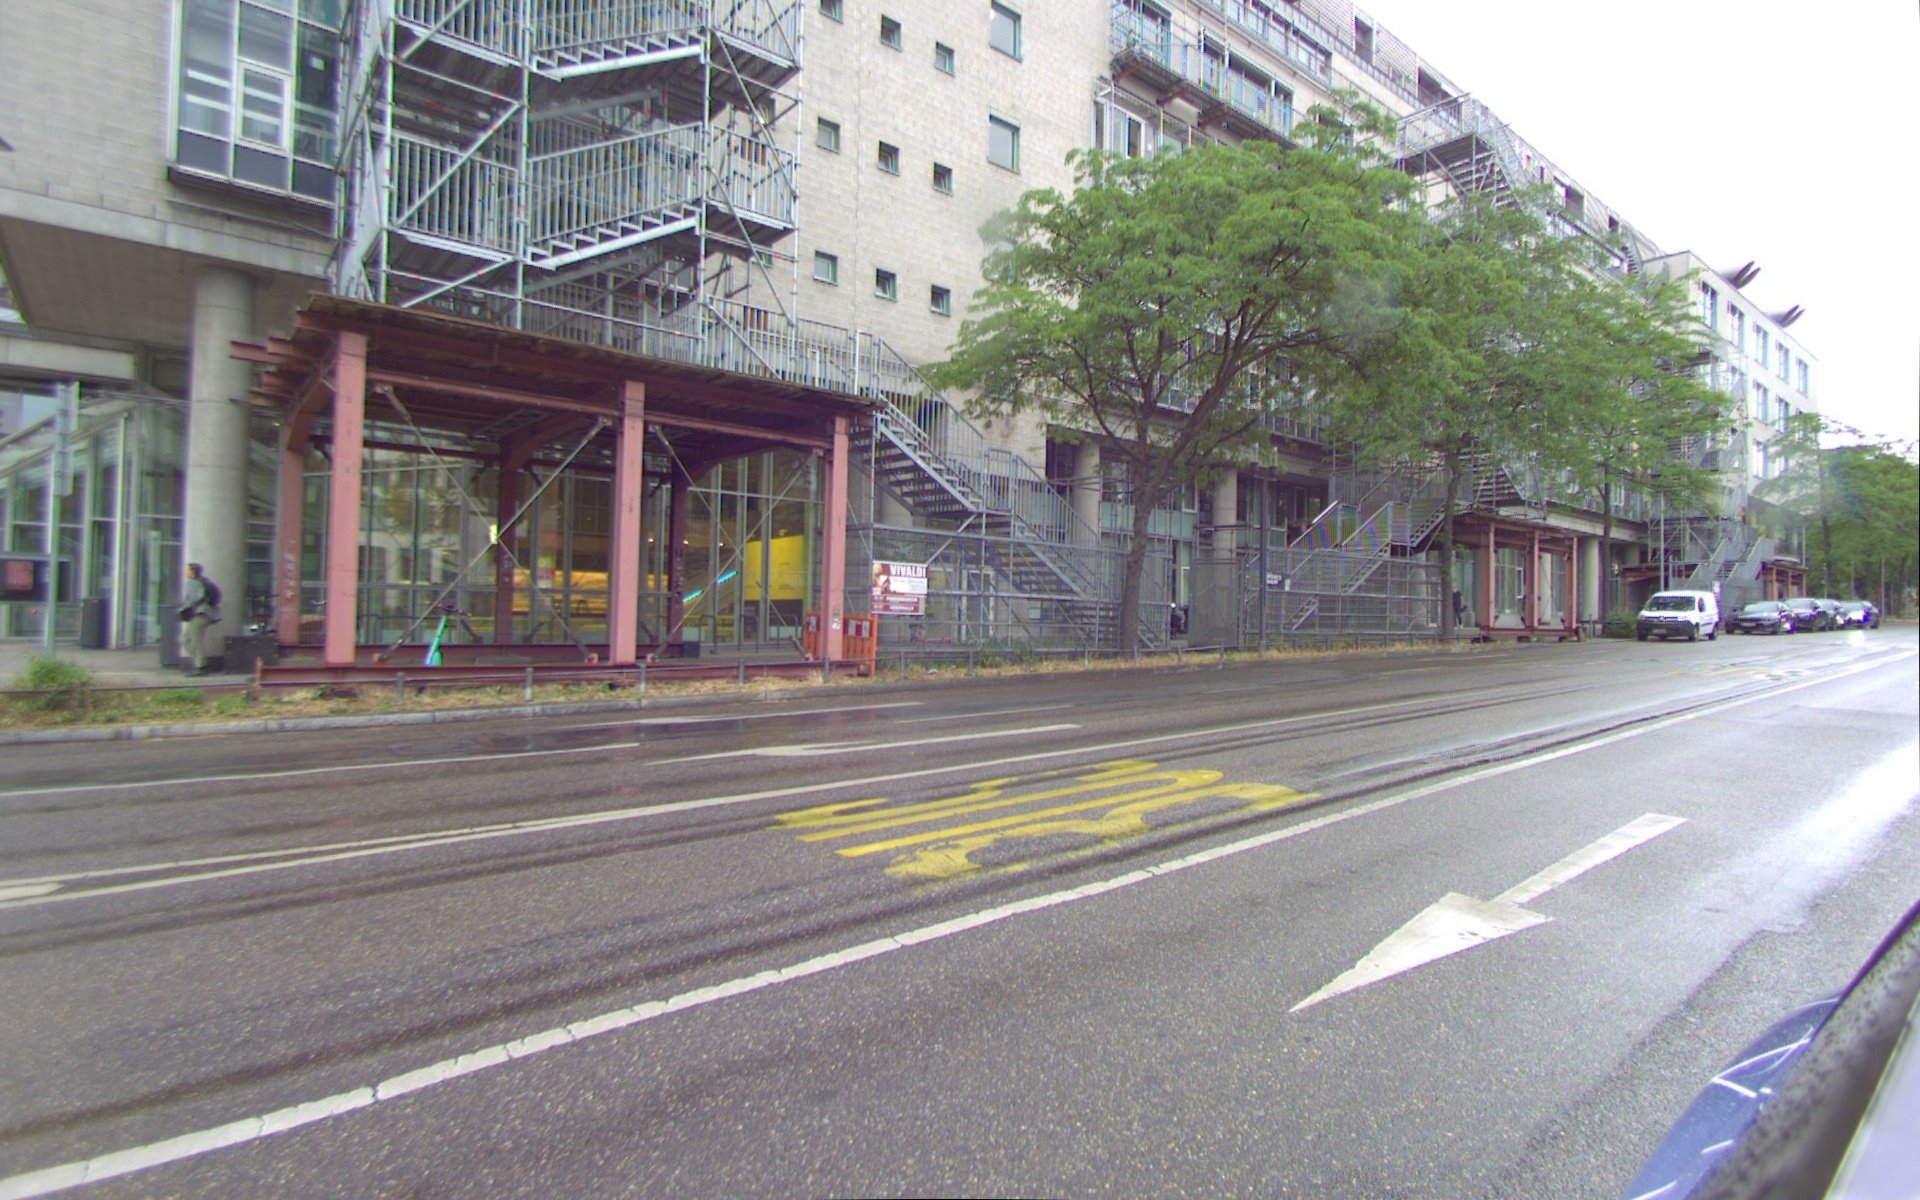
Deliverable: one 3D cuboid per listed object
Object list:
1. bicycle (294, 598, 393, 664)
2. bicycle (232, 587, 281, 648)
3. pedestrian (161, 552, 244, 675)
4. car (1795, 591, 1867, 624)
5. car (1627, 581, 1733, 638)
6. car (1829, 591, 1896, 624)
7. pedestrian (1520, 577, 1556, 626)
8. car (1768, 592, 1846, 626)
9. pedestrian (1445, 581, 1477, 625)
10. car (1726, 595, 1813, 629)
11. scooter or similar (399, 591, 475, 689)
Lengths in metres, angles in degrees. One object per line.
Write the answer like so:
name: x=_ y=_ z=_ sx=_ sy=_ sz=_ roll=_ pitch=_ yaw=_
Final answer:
bicycle: x=-11.990 y=0.575 z=19.729 sx=0.580 sy=1.209 sz=1.602 roll=0 pitch=0 yaw=24
bicycle: x=-14.435 y=0.345 z=20.755 sx=0.577 sy=1.209 sz=1.611 roll=0 pitch=0 yaw=-44
pedestrian: x=-11.479 y=0.187 z=15.342 sx=0.774 sy=1.798 sz=0.783 roll=0 pitch=0 yaw=31
car: x=44.355 y=0.370 z=51.522 sx=4.733 sy=1.580 sz=2.145 roll=-1 pitch=1 yaw=-41
car: x=26.063 y=0.301 z=36.582 sx=4.254 sy=1.930 sz=2.211 roll=-1 pitch=0 yaw=-41
car: x=48.928 y=0.360 z=54.848 sx=4.733 sy=1.667 sz=2.145 roll=-1 pitch=0 yaw=-41
pedestrian: x=24.318 y=0.061 z=42.583 sx=1.021 sy=2.039 sz=1.009 roll=0 pitch=0 yaw=-41
car: x=40.243 y=0.398 z=48.061 sx=4.733 sy=1.513 sz=2.145 roll=-1 pitch=1 yaw=-41
pedestrian: x=21.063 y=0.121 z=42.555 sx=0.832 sy=1.822 sz=1.008 roll=0 pitch=0 yaw=-44
car: x=35.088 y=0.481 z=43.810 sx=4.733 sy=1.353 sz=2.145 roll=-1 pitch=1 yaw=-41
scooter or similar: x=-6.942 y=0.488 z=13.406 sx=0.576 sy=1.209 sz=1.782 roll=1 pitch=0 yaw=-38
